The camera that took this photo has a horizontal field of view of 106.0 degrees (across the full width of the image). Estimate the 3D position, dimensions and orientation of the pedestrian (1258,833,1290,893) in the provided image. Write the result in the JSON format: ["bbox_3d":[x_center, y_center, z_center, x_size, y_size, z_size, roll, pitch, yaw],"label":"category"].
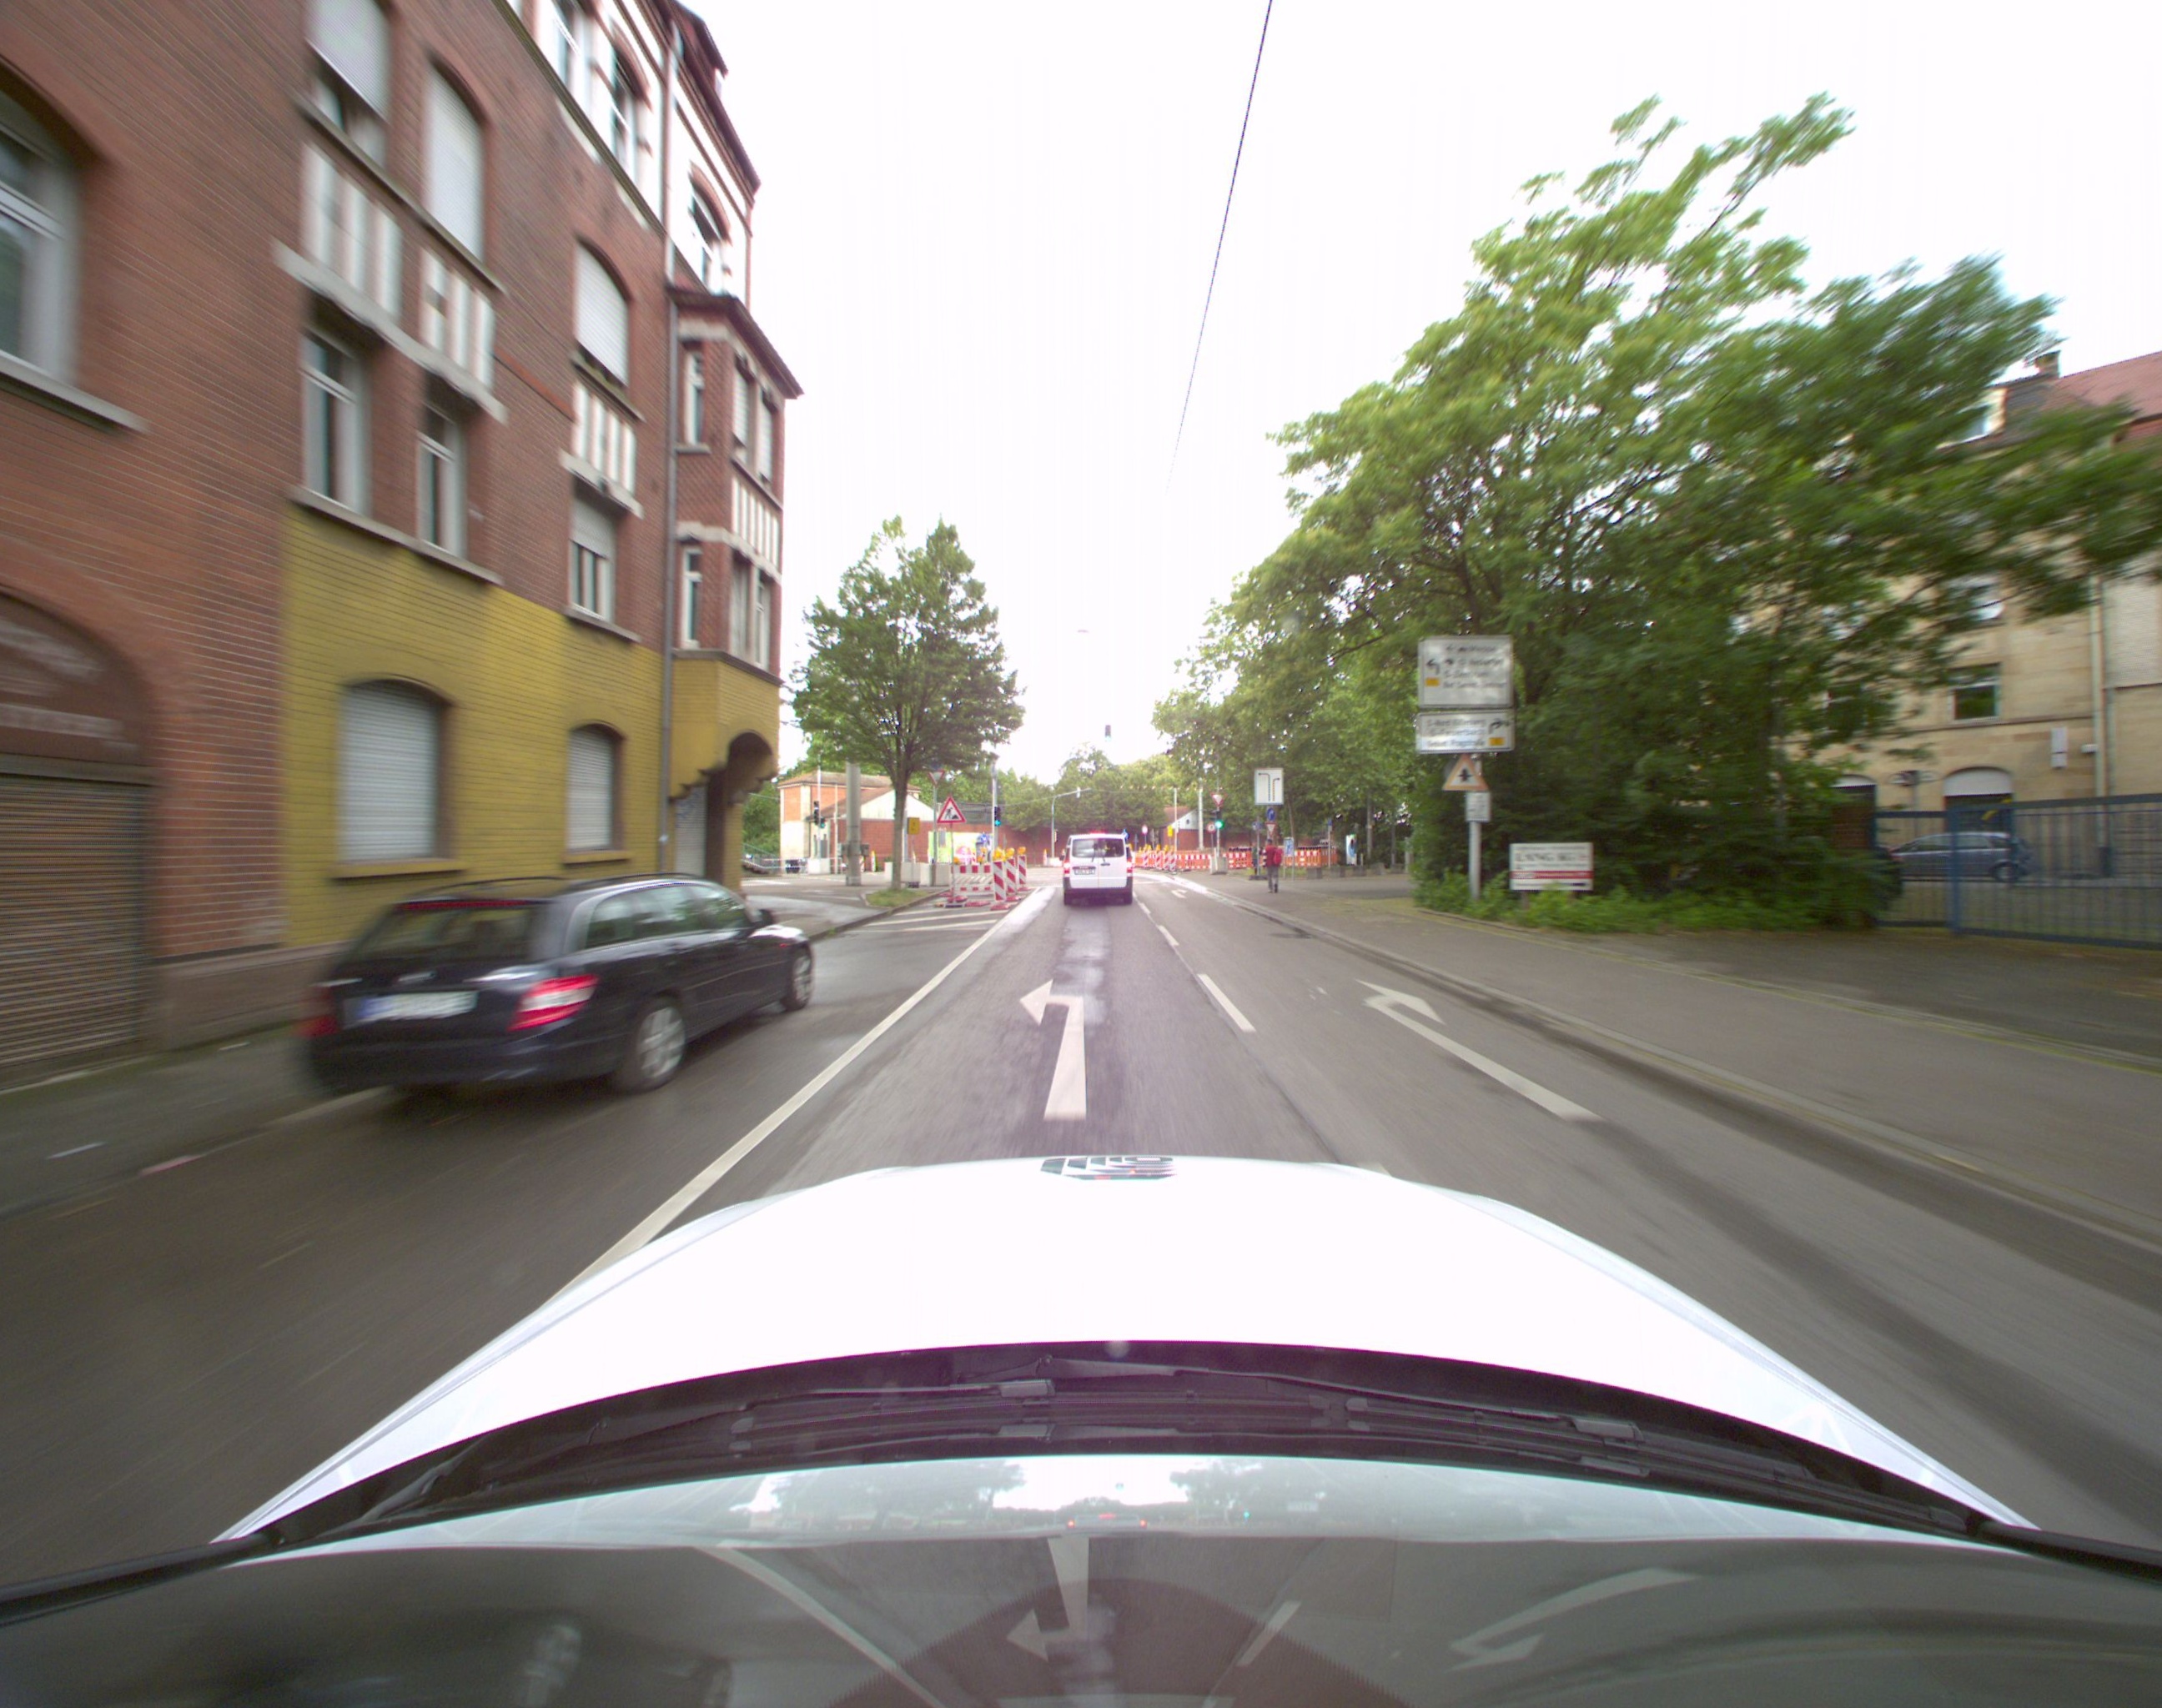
[{"bbox_3d":[6.077,0.276,25.728,0.777,1.831,0.728,-3,0,1],"label":"pedestrian"}]

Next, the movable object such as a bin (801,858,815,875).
[{"bbox_3d":[-22.359,1.007,66.674,0.855,1.340,0.791,-1,-1,-41],"label":"movable object such as a bin"}]

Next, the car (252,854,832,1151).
[{"bbox_3d":[-3.661,0.827,6.707,1.718,1.485,4.393,1,2,2],"label":"car"}]

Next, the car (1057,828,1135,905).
[{"bbox_3d":[0.434,0.398,23.348,1.910,1.902,4.701,3,-2,1],"label":"car"}]

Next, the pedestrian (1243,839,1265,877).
[{"bbox_3d":[7.918,0.164,37.253,0.730,1.697,0.835,-2,1,-8],"label":"pedestrian"}]

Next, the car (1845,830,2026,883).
[{"bbox_3d":[27.826,0.126,26.658,1.630,1.589,3.951,-1,-1,-42],"label":"car"}]
